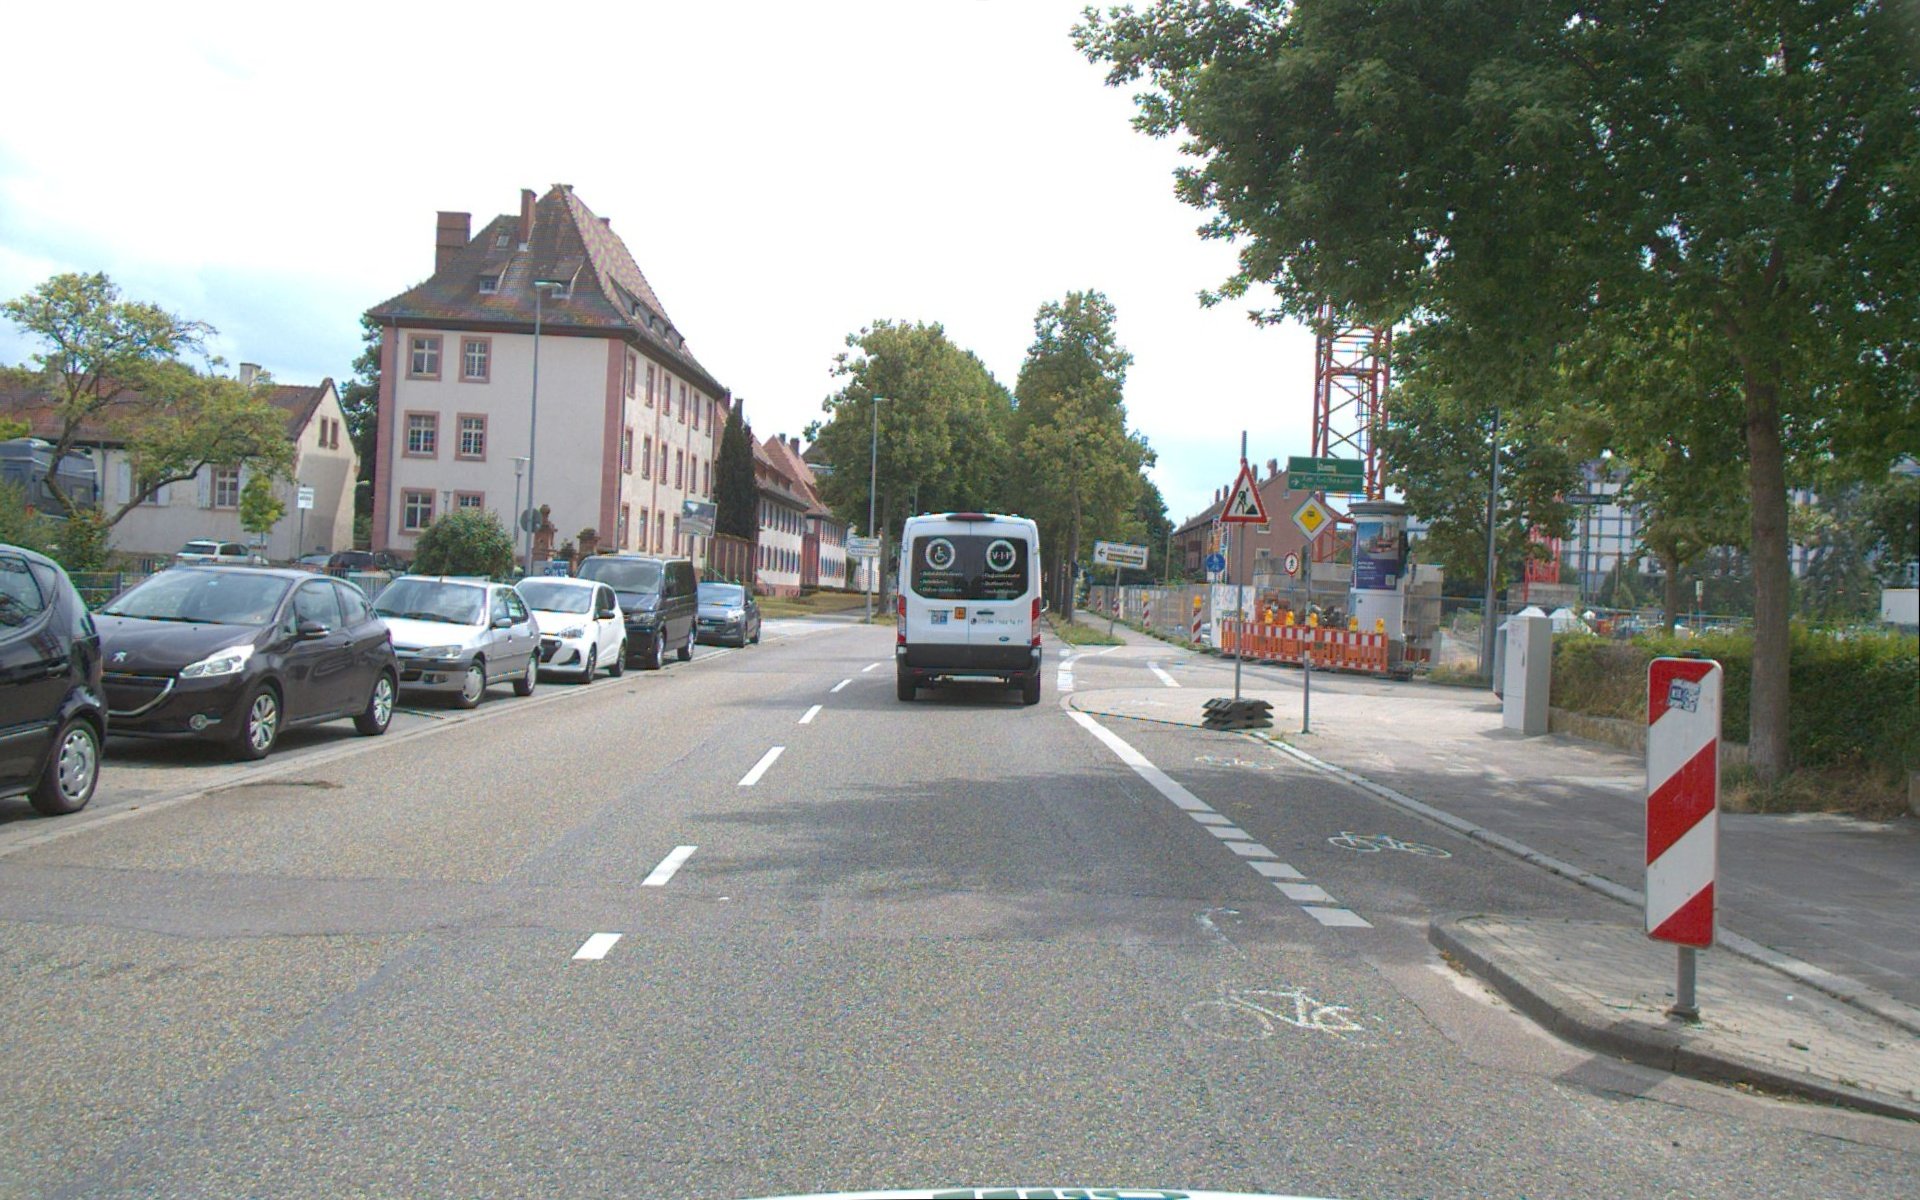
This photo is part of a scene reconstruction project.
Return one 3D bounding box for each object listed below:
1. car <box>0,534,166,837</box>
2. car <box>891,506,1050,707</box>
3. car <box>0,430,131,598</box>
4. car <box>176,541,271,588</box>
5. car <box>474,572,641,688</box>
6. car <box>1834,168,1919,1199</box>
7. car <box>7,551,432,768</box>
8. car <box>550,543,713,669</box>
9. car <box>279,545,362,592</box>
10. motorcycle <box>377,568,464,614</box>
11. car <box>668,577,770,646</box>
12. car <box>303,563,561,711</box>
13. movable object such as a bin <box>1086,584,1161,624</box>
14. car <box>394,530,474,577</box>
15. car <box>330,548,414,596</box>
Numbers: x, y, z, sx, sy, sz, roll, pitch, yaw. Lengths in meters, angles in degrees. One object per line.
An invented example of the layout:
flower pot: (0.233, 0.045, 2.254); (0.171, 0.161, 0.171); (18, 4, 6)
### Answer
car: (-5.846, 0.416, 8.577); (1.589, 1.602, 3.998); (3, 0, -2)
car: (0.104, 0.093, 23.586); (2.021, 2.584, 3.999); (1, 0, -1)
car: (-17.091, -1.563, 27.545); (5.202, 2.596, 2.355); (5, 0, 3)
car: (-30.138, -1.475, 67.814); (1.730, 1.740, 4.293); (3, 3, 3)
car: (-6.165, 0.407, 25.707); (1.620, 1.556, 3.764); (4, 1, -1)
car: (3.237, 0.304, 1.658); (1.857, 2.646, 4.903); (5, 0, -1)
car: (-6.081, 0.429, 14.164); (1.652, 1.496, 4.049); (3, 0, 1)
car: (-6.061, 0.079, 31.129); (1.909, 2.039, 4.844); (4, 1, 1)
car: (-26.183, -1.305, 67.829); (1.730, 1.740, 3.699); (3, 3, 3)
motorcycle: (-14.220, -0.224, 43.637); (2.046, 1.162, 0.725); (1, 0, 6)
car: (-5.946, 0.253, 41.258); (1.785, 1.498, 4.297); (5, 1, 0)
car: (-6.103, 0.370, 19.634); (1.653, 1.482, 4.263); (3, 1, 0)
movable object such as a bin: (11.230, 0.282, 113.666); (4.584, 2.635, 3.134); (1, 0, 16)
car: (-21.245, -1.922, 66.905); (1.730, 1.740, 3.961); (3, 3, 3)
car: (-23.841, -1.176, 67.199); (1.730, 1.740, 3.961); (3, 3, 3)
